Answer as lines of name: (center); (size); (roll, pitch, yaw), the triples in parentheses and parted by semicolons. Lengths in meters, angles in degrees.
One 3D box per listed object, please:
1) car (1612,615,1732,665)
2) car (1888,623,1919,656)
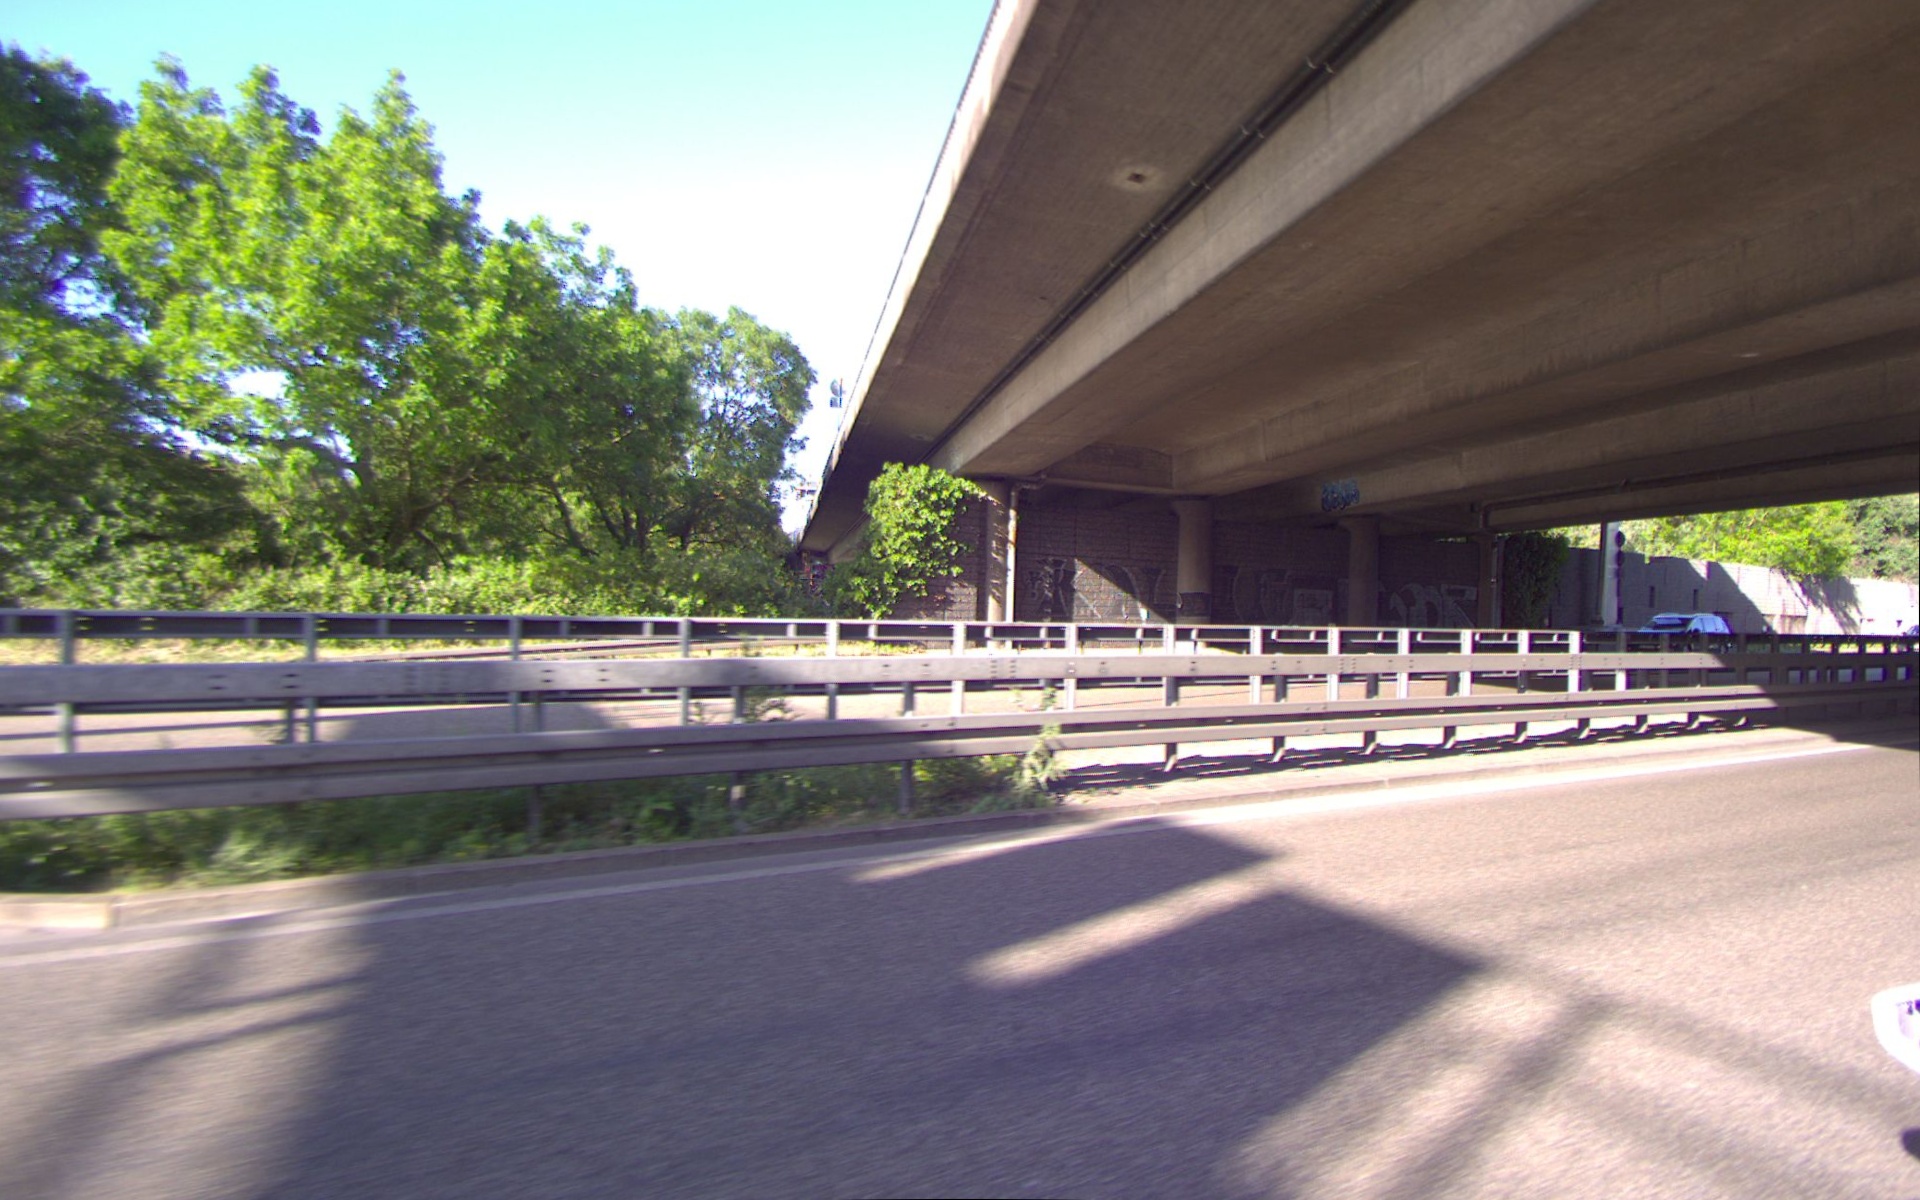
car: (26.218, 1.437, 36.960); (4.508, 1.728, 1.984); (1, -1, -31)
car: (50.293, 2.059, 52.112); (4.376, 1.617, 1.983); (1, 0, -31)
